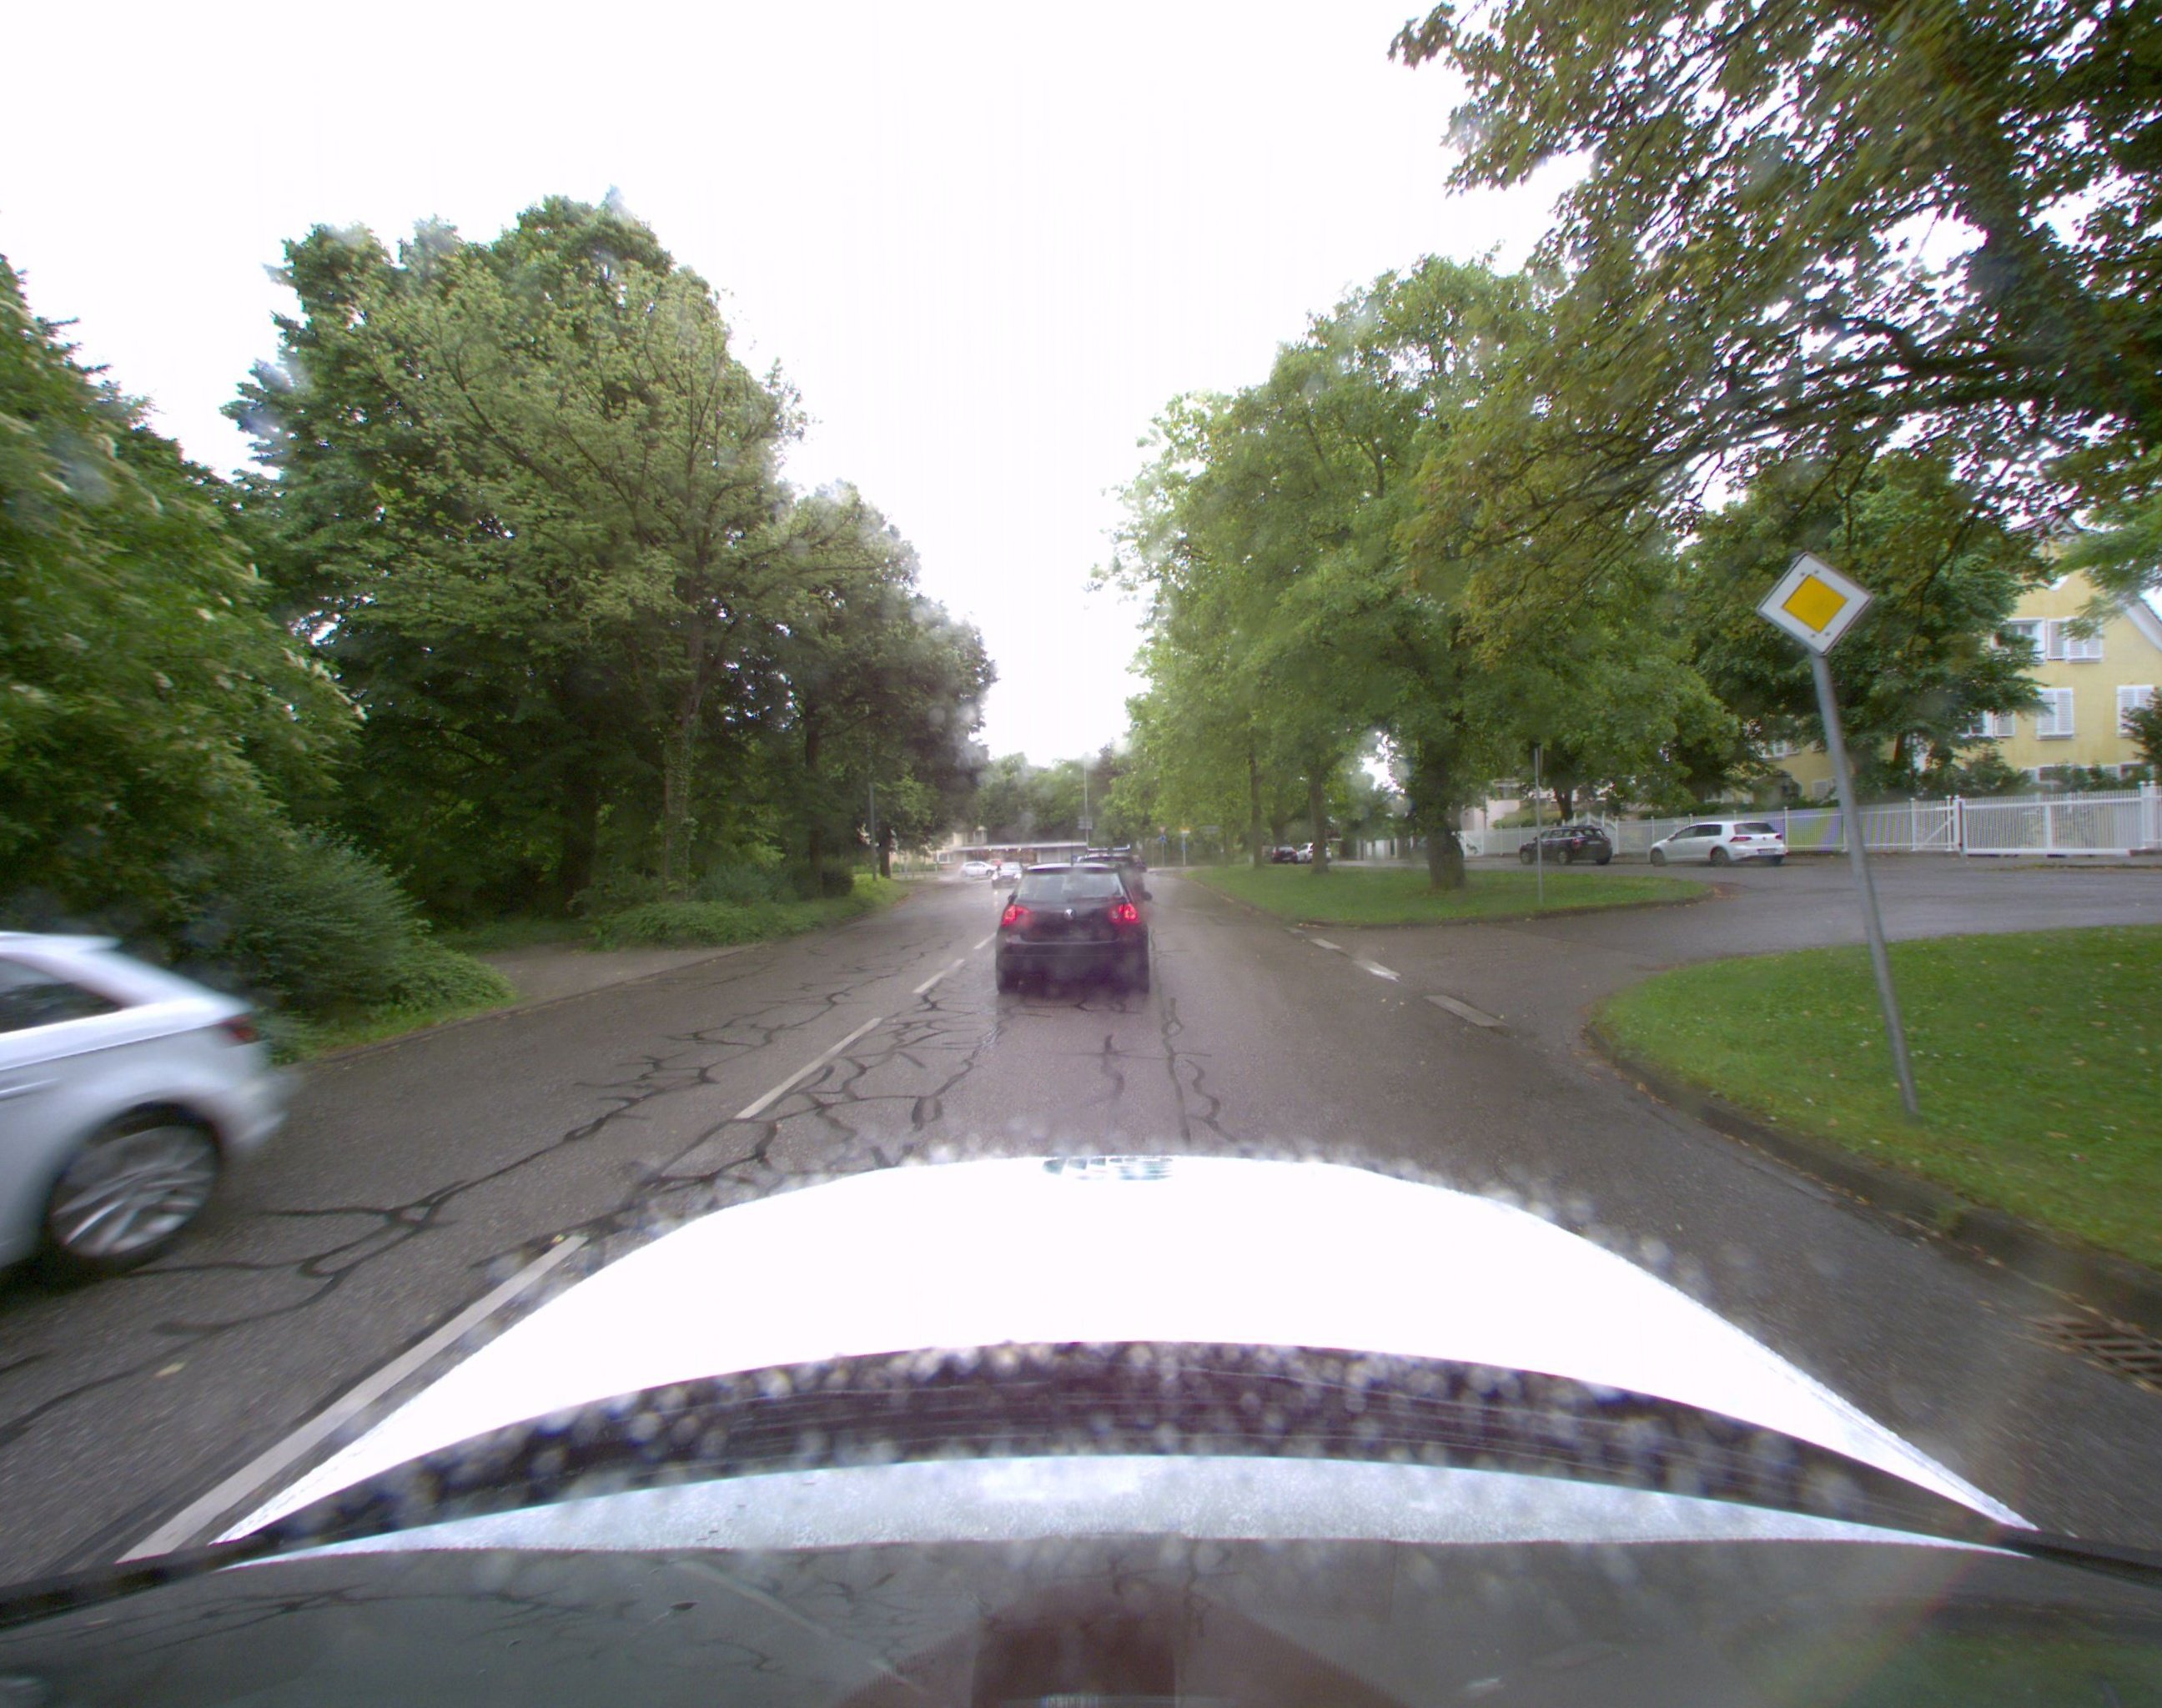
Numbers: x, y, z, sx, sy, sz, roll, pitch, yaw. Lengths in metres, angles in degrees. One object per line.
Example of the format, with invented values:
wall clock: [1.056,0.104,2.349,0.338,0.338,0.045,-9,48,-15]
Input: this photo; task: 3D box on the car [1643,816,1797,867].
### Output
car: [20.218,-0.389,26.013,1.612,1.409,4.006,-3,0,-3]

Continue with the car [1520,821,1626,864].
car: [20.012,-0.458,33.350,1.796,1.529,4.112,-3,0,0]

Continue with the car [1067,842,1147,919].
car: [0.733,0.660,21.585,1.848,1.785,4.003,-2,-1,3]

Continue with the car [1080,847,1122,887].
car: [1.021,0.641,39.779,1.848,1.785,4.003,-2,-1,3]

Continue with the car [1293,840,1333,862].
car: [16.672,-0.202,58.686,1.796,1.406,4.003,-4,0,2]

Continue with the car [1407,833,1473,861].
car: [20.011,-0.391,45.562,1.796,1.411,4.112,-3,0,0]

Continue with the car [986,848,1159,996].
car: [0.007,0.725,10.462,1.791,1.515,3.756,-2,0,3]

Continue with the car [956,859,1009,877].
car: [-9.178,1.310,76.013,4.463,1.419,1.854,-3,-1,14]

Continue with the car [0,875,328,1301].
car: [-4.561,0.876,2.009,1.603,1.427,4.008,-3,1,0]

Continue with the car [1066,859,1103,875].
car: [0.320,1.194,76.049,3.122,1.310,1.534,-3,-1,-12]

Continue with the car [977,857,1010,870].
car: [-10.857,1.167,101.597,3.636,1.513,1.718,-3,-1,13]

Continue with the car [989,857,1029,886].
car: [-3.974,0.950,45.596,1.791,1.393,3.978,-4,0,0]

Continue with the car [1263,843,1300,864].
car: [14.361,-0.044,58.491,1.796,1.385,4.003,-4,0,2]
